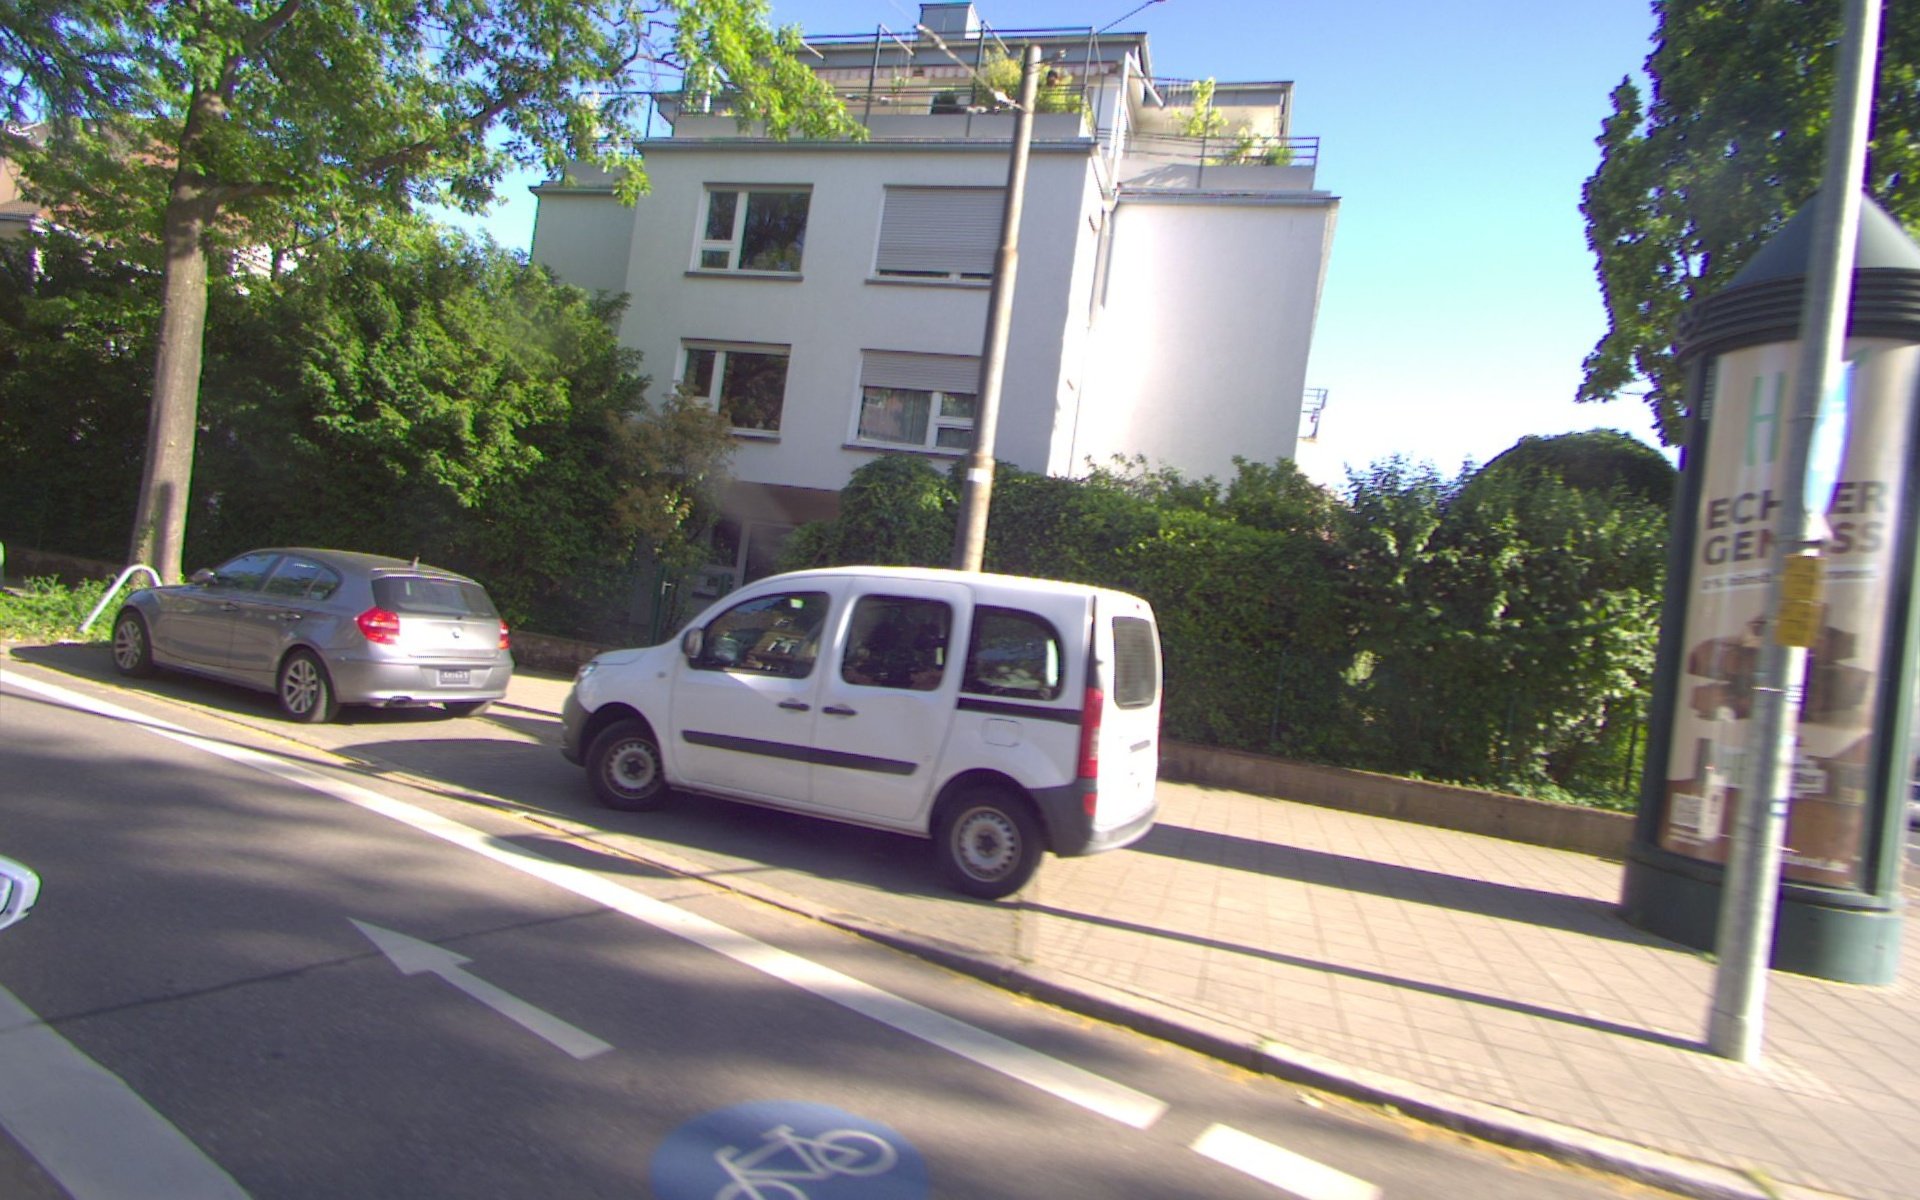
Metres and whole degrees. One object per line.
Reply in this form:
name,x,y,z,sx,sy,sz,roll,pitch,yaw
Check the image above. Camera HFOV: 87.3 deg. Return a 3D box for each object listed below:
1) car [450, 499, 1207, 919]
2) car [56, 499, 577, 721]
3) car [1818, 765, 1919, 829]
car,-0.894,0.549,7.011,4.664,1.767,2.029,8,-1,22
car,-6.147,0.070,9.665,4.252,1.440,2.001,7,-1,22
car,28.639,6.023,29.566,1.978,1.445,4.731,9,-3,-28
